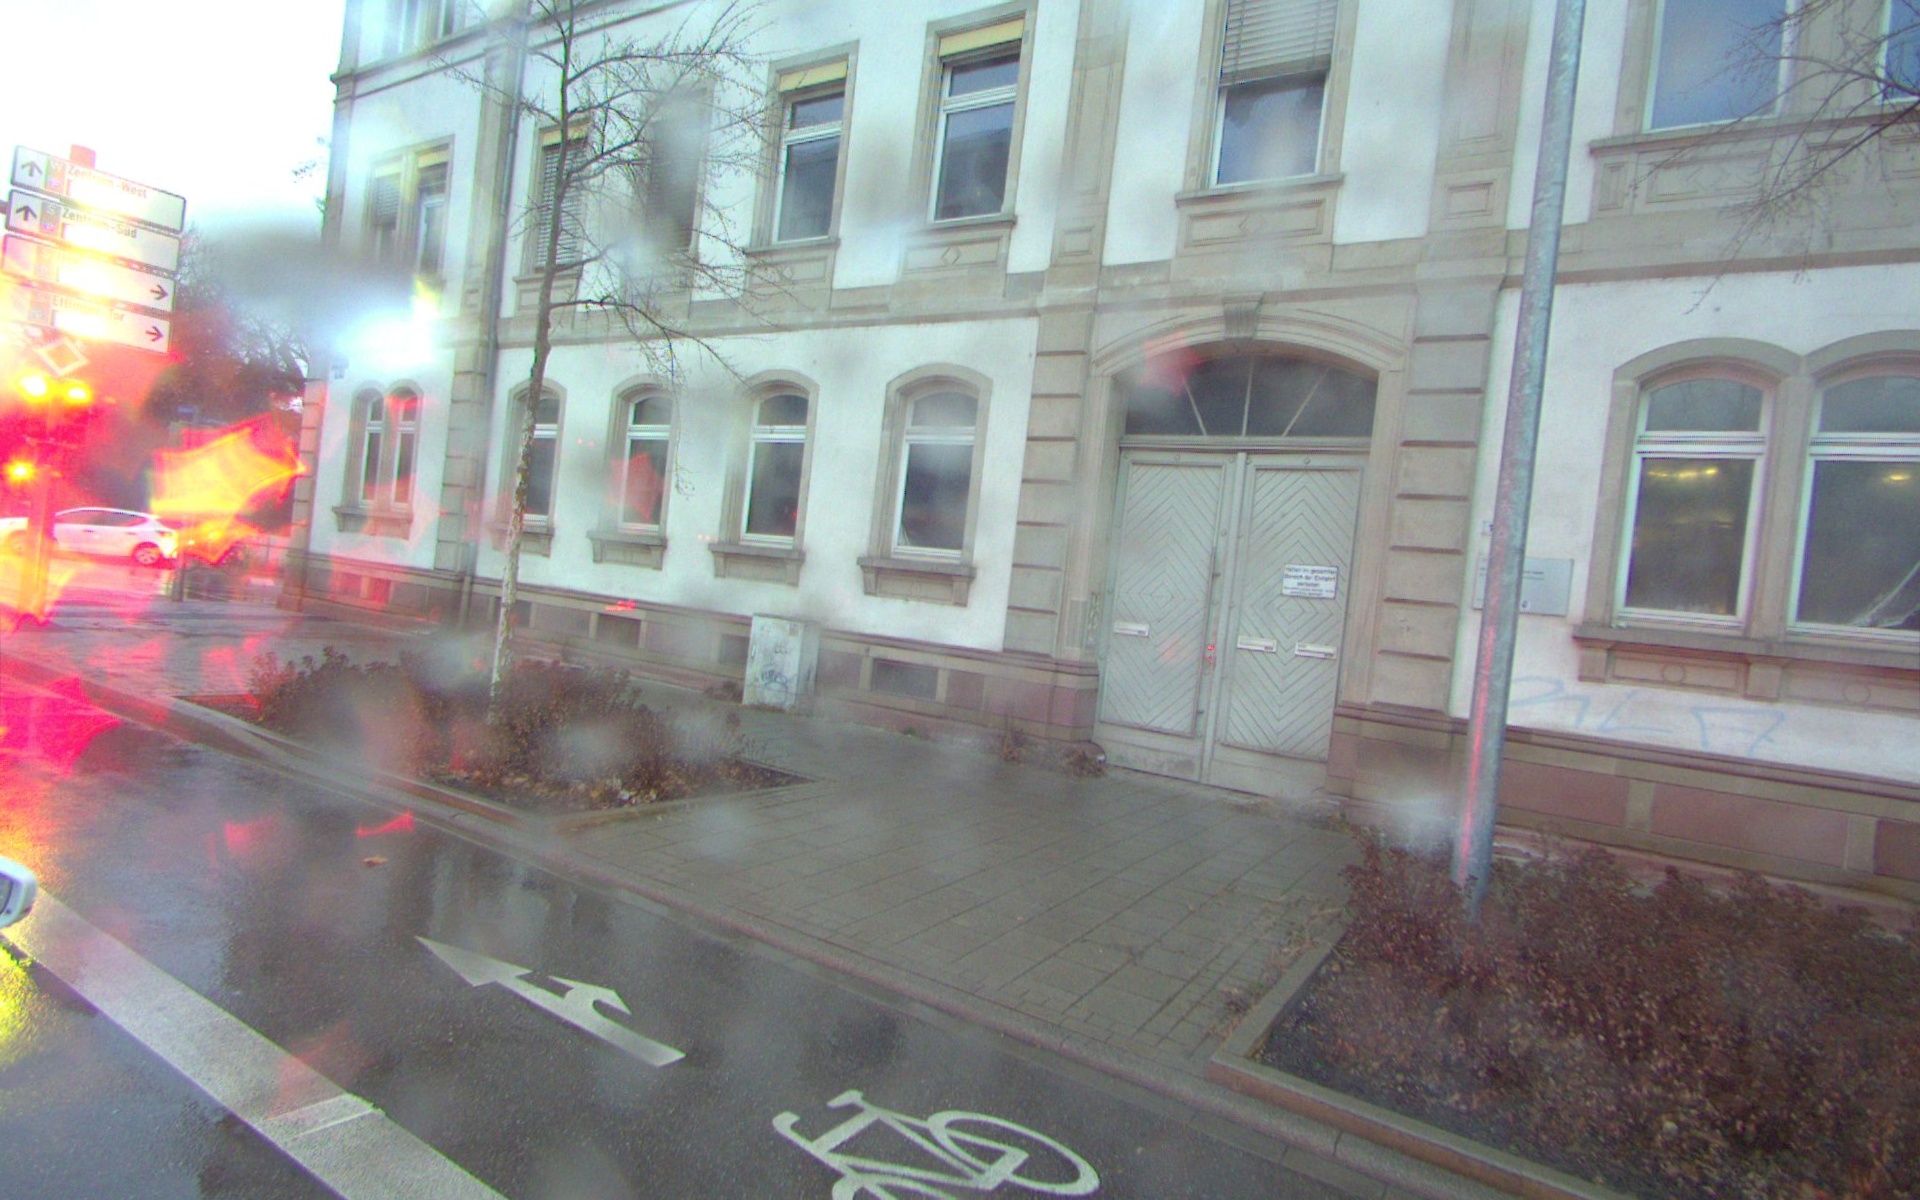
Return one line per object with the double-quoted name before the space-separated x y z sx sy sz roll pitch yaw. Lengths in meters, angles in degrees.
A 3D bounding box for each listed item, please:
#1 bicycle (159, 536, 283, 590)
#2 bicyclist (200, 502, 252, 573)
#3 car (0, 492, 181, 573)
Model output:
"bicycle" -20.487 -1.012 27.928 2.656 1.101 0.806 9 -3 -39
"bicyclist" -20.388 -1.722 27.950 0.968 1.778 0.805 8 -2 -39
"car" -24.456 -1.847 28.220 3.936 1.571 1.733 9 -3 -36
